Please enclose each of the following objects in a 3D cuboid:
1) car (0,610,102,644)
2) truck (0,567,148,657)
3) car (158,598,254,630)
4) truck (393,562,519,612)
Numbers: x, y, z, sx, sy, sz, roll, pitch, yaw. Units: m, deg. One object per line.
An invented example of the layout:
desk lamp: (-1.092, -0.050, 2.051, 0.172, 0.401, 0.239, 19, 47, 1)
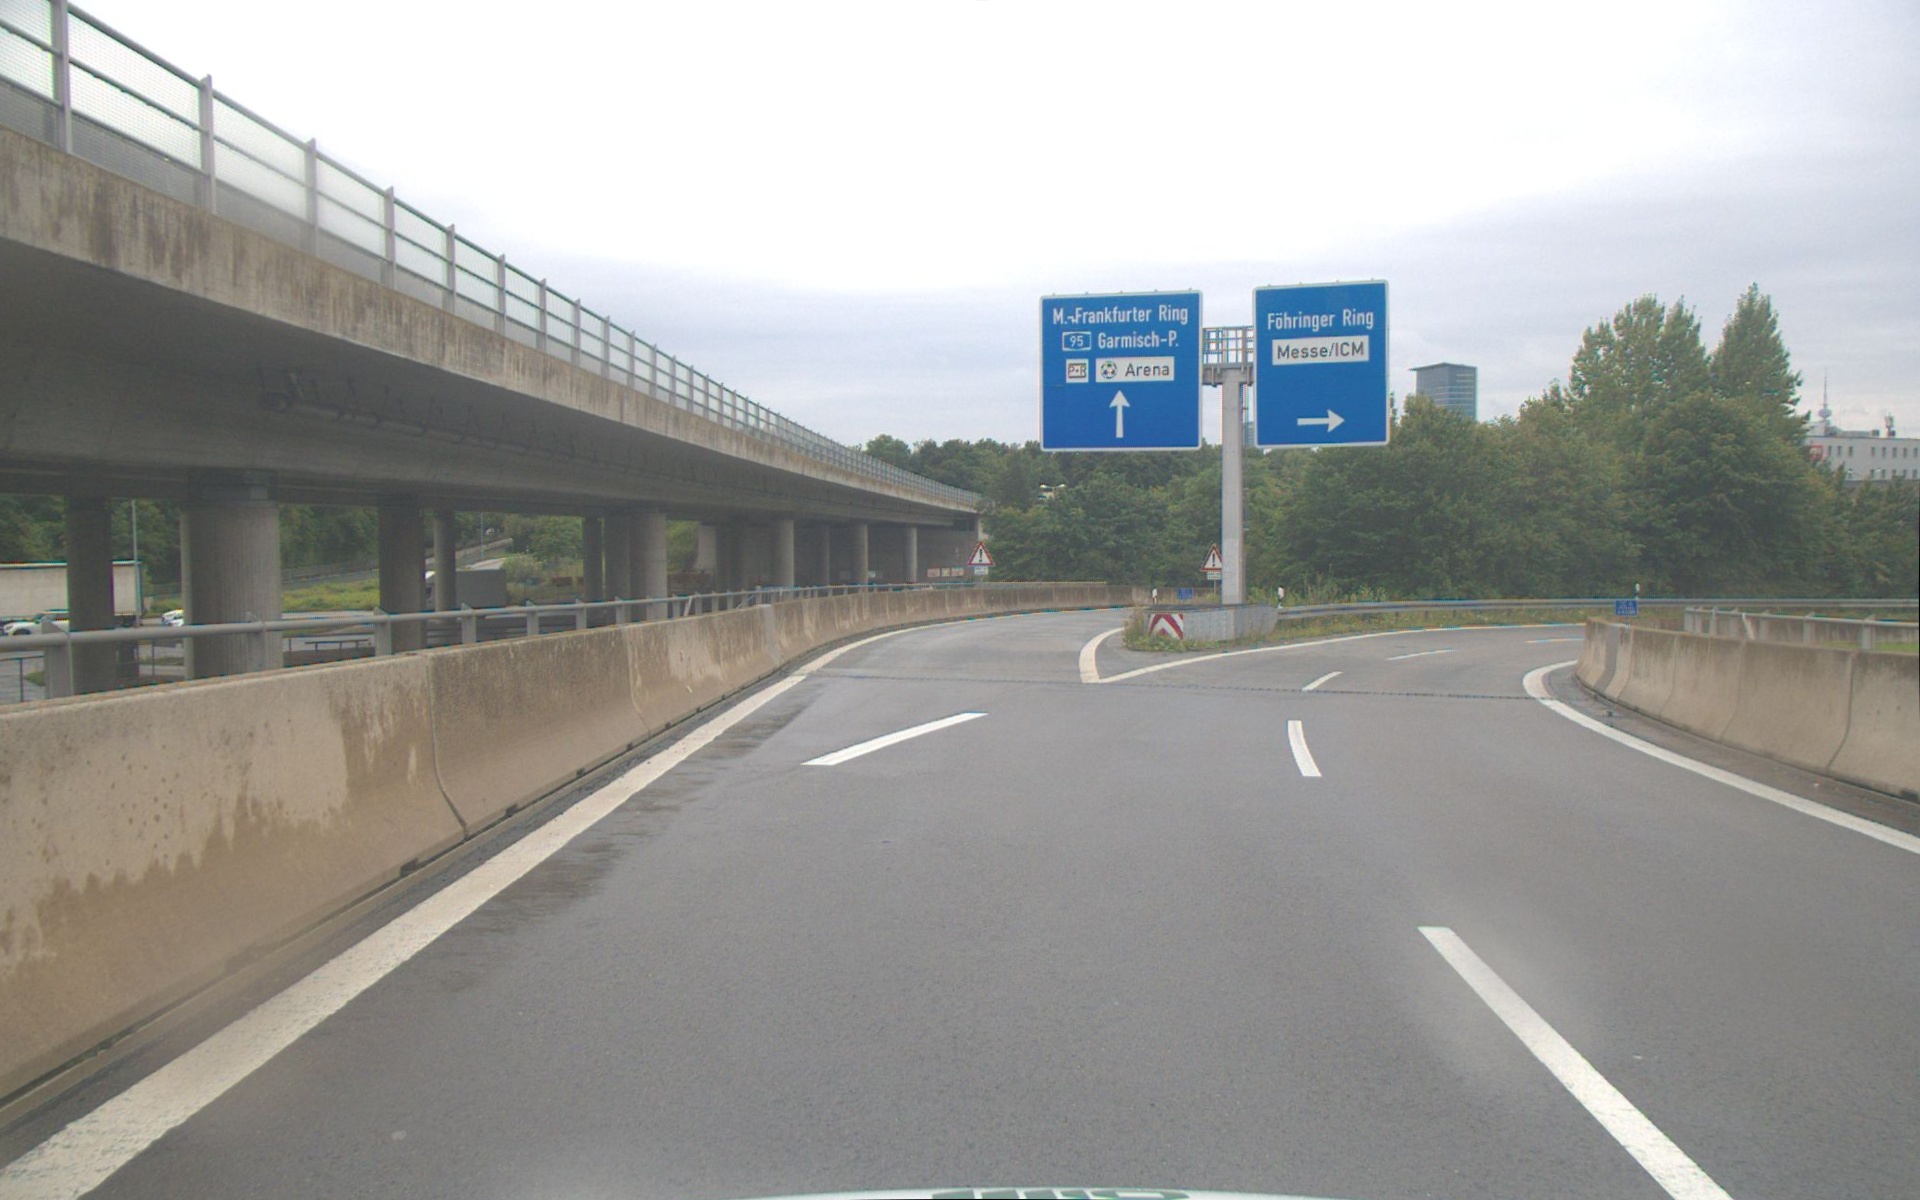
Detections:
car: (-47.870, 1.423, 87.085, 4.544, 1.610, 1.949, -2, 1, -38)
truck: (-49.487, 0.615, 89.596, 9.493, 4.671, 2.764, -2, 1, -36)
car: (-41.828, 0.771, 91.797, 4.544, 1.610, 1.949, -2, 1, -38)
truck: (-31.275, -0.804, 102.765, 7.148, 3.029, 2.233, 0, 0, -35)
